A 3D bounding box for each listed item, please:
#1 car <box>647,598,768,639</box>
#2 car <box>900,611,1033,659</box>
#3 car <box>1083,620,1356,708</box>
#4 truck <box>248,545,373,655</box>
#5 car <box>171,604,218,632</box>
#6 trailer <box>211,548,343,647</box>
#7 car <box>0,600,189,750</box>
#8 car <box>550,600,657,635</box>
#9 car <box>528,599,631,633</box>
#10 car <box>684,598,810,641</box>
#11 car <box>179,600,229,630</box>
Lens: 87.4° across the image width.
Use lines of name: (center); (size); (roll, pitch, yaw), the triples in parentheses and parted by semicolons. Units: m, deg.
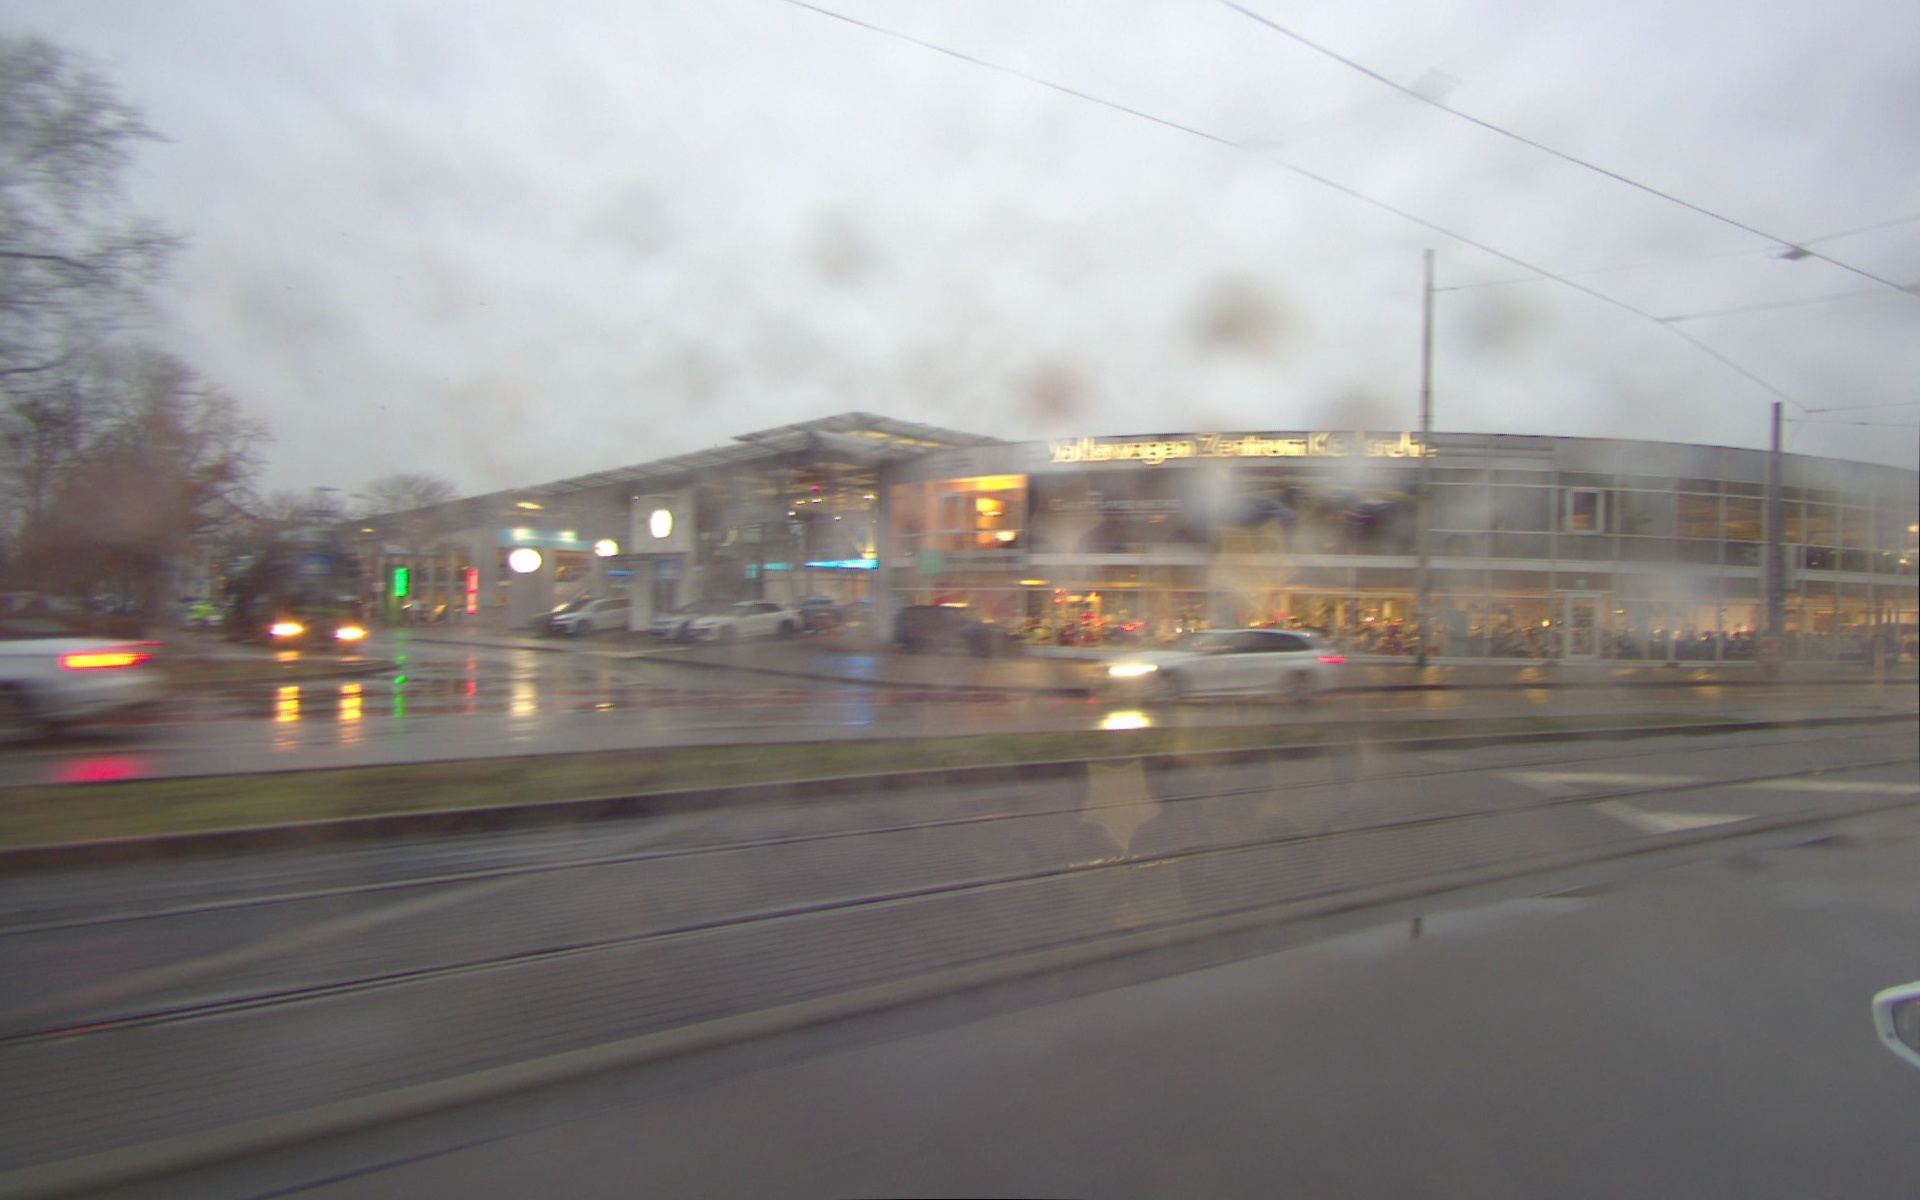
car: (-10.179, 0.779, 40.668); (4.388, 1.543, 1.861); (2, 0, -42)
car: (0.208, 1.170, 34.246); (4.218, 1.417, 1.739); (2, 0, 31)
car: (4.960, 1.201, 19.358); (4.730, 1.517, 1.994); (1, 0, -15)
truck: (-22.739, -0.033, 34.996); (2.638, 3.463, 6.673); (2, 0, -42)
car: (-47.043, 1.106, 61.691); (1.985, 1.684, 3.951); (2, -1, -42)
trailer: (-28.687, -0.182, 41.733); (2.617, 3.463, 14.872); (2, 0, -41)
car: (-10.770, 0.711, 10.081); (4.534, 1.440, 1.984); (1, 0, -30)
car: (-16.878, 0.861, 47.647); (4.388, 1.543, 1.861); (2, 0, -42)
car: (-18.695, 0.797, 49.438); (4.388, 1.543, 1.861); (2, 0, -42)
car: (-8.161, 0.762, 38.692); (4.388, 1.543, 1.861); (2, 0, -42)
car: (-43.861, 0.859, 58.226); (1.985, 1.684, 3.951); (2, -1, -42)
